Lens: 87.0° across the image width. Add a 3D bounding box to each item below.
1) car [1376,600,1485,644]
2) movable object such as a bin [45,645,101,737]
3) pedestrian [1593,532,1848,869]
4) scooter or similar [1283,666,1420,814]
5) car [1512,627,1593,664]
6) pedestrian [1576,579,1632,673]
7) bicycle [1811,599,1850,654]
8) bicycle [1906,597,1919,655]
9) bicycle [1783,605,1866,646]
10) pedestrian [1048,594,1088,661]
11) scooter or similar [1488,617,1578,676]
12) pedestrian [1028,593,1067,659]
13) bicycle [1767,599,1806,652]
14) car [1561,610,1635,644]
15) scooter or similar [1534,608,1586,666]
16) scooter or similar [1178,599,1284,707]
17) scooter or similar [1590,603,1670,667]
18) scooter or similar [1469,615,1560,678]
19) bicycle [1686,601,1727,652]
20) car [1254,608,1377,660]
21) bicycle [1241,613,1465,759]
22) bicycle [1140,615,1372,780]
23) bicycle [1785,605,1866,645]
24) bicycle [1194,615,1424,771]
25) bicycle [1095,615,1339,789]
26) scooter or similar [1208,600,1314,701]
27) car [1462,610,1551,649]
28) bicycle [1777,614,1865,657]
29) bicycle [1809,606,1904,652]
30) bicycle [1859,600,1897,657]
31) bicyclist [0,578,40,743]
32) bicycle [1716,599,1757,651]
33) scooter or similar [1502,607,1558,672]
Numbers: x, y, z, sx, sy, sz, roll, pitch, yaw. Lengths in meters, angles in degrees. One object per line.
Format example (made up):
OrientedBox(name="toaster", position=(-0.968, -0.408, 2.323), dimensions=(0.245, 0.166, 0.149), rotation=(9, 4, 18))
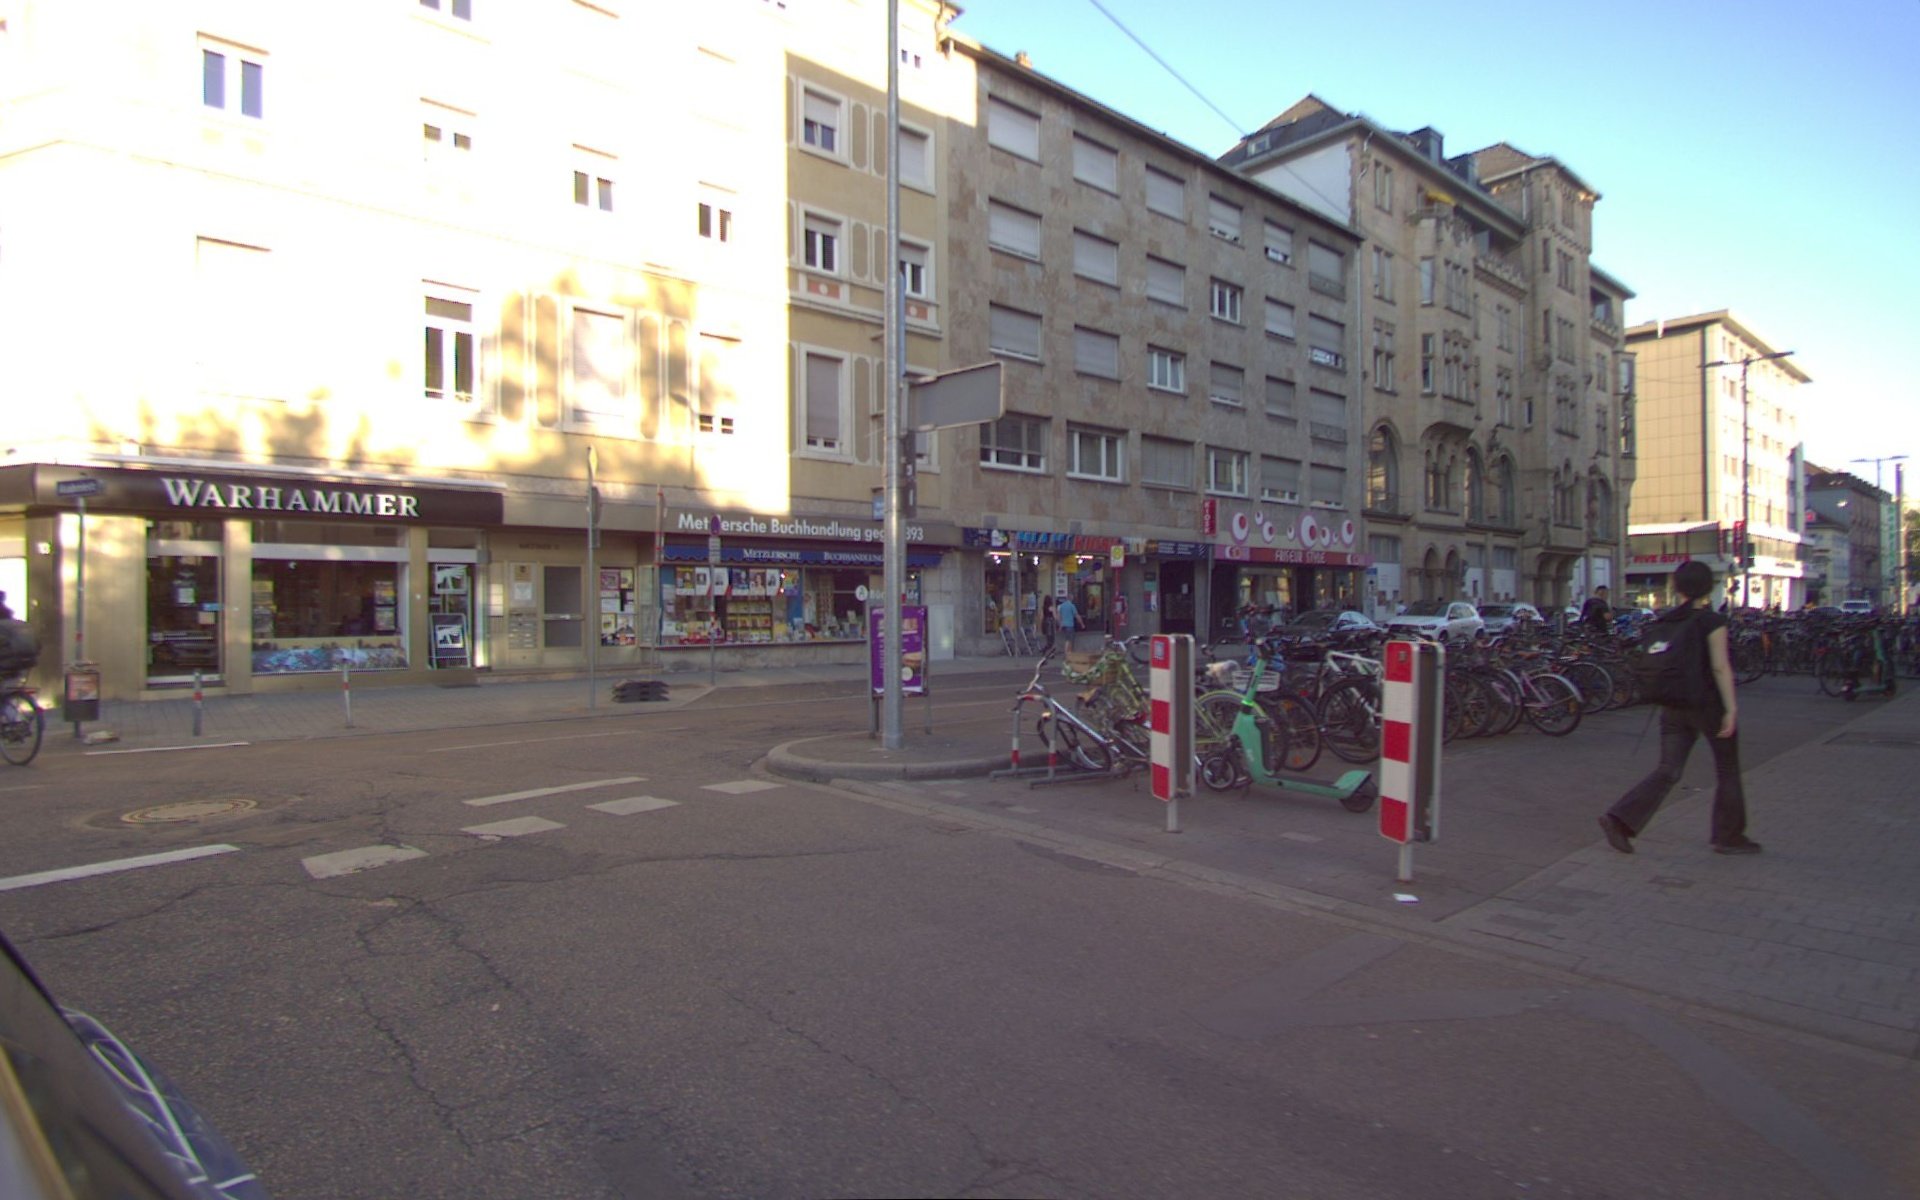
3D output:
OrientedBox(name="car", position=(16.255, 0.735, 34.864), dimensions=(4.553, 1.401, 1.865), rotation=(0, -2, -44))
OrientedBox(name="movable object such as a bin", position=(-10.666, 1.087, 12.174), dimensions=(0.352, 1.072, 0.359), rotation=(-1, -1, 8))
OrientedBox(name="pedestrian", position=(4.018, 0.499, 5.388), dimensions=(0.858, 1.670, 0.619), rotation=(-1, -1, -7))
OrientedBox(name="scooter or similar", position=(2.636, 0.917, 6.845), dimensions=(0.382, 0.891, 0.771), rotation=(0, 0, -42))
OrientedBox(name="car", position=(24.286, 1.827, 41.445), dimensions=(3.940, 1.401, 1.865), rotation=(0, -2, -44))
OrientedBox(name="pedestrian", position=(12.010, 0.472, 18.875), dimensions=(0.634, 1.708, 0.686), rotation=(0, -1, -38))
OrientedBox(name="bicycle", position=(20.928, 0.613, 24.322), dimensions=(1.949, 1.264, 0.514), rotation=(0, 0, -44))
OrientedBox(name="bicycle", position=(21.970, 0.572, 23.040), dimensions=(1.949, 1.264, 0.514), rotation=(0, 0, -44))
OrientedBox(name="bicycle", position=(27.484, 0.806, 32.216), dimensions=(1.978, 1.264, 0.506), rotation=(-1, 0, 41))
OrientedBox(name="pedestrian", position=(2.820, 0.707, 26.367), dimensions=(0.791, 1.720, 0.666), rotation=(0, -1, -41))
OrientedBox(name="scooter or similar", position=(9.755, 0.778, 17.258), dimensions=(0.382, 0.949, 1.272), rotation=(0, 0, -42))
OrientedBox(name="pedestrian", position=(2.332, 0.681, 26.935), dimensions=(0.791, 1.720, 0.666), rotation=(0, -1, -41))
OrientedBox(name="bicycle", position=(20.461, 0.604, 25.043), dimensions=(1.949, 1.264, 0.514), rotation=(0, 0, -44))
OrientedBox(name="car", position=(28.522, 1.184, 45.210), dimensions=(3.940, 1.401, 1.865), rotation=(0, -2, -44))
OrientedBox(name="scooter or similar", position=(12.821, 0.780, 21.617), dimensions=(1.250, 1.190, 0.517), rotation=(0, 0, -38))
OrientedBox(name="scooter or similar", position=(3.351, 0.633, 12.584), dimensions=(0.382, 1.270, 1.272), rotation=(0, 0, -42))
OrientedBox(name="scooter or similar", position=(13.453, 0.685, 20.340), dimensions=(0.382, 1.252, 1.272), rotation=(0, 0, -42))
OrientedBox(name="scooter or similar", position=(9.223, 0.761, 16.853), dimensions=(0.382, 0.999, 1.272), rotation=(0, 0, -42))
OrientedBox(name="bicycle", position=(19.272, 0.663, 26.114), dimensions=(1.949, 1.264, 0.514), rotation=(0, 0, -44))
OrientedBox(name="car", position=(10.554, 0.966, 29.921), dimensions=(3.940, 1.401, 1.865), rotation=(0, -2, -44))
OrientedBox(name="bicycle", position=(3.709, 0.762, 9.710), dimensions=(0.505, 1.264, 1.981), rotation=(0, 0, -43))
OrientedBox(name="bicycle", position=(2.499, 0.773, 8.783), dimensions=(0.505, 1.264, 1.982), rotation=(0, 0, -40))
OrientedBox(name="bicycle", position=(27.929, 0.803, 32.683), dimensions=(1.978, 1.264, 0.506), rotation=(-1, 0, 41))
OrientedBox(name="bicycle", position=(3.113, 0.778, 9.213), dimensions=(0.505, 1.264, 1.981), rotation=(0, 0, -42))
OrientedBox(name="bicycle", position=(2.057, 0.766, 8.355), dimensions=(0.506, 1.264, 1.980), rotation=(0, 0, -44))
OrientedBox(name="scooter or similar", position=(3.824, 0.622, 12.919), dimensions=(0.382, 1.221, 1.272), rotation=(0, 0, -42))
OrientedBox(name="car", position=(20.807, 1.089, 38.454), dimensions=(3.940, 1.401, 1.865), rotation=(0, -2, -44))
OrientedBox(name="bicycle", position=(25.808, 1.049, 30.374), dimensions=(1.978, 1.264, 0.506), rotation=(-1, 0, 41))
OrientedBox(name="bicycle", position=(25.640, 0.815, 28.959), dimensions=(0.505, 1.264, 1.981), rotation=(0, 0, -42))
OrientedBox(name="bicycle", position=(21.414, 0.638, 23.598), dimensions=(1.949, 1.264, 0.514), rotation=(0, 0, -44))
OrientedBox(name="bicyclist", position=(-9.615, 0.581, 9.882), dimensions=(0.858, 1.582, 0.655), rotation=(-1, 0, 24))
OrientedBox(name="bicycle", position=(19.705, 0.613, 25.665), dimensions=(1.949, 1.264, 0.514), rotation=(0, 0, -44))
OrientedBox(name="scooter or similar", position=(11.391, 0.770, 20.217), dimensions=(1.250, 1.252, 0.517), rotation=(0, 0, -38))
